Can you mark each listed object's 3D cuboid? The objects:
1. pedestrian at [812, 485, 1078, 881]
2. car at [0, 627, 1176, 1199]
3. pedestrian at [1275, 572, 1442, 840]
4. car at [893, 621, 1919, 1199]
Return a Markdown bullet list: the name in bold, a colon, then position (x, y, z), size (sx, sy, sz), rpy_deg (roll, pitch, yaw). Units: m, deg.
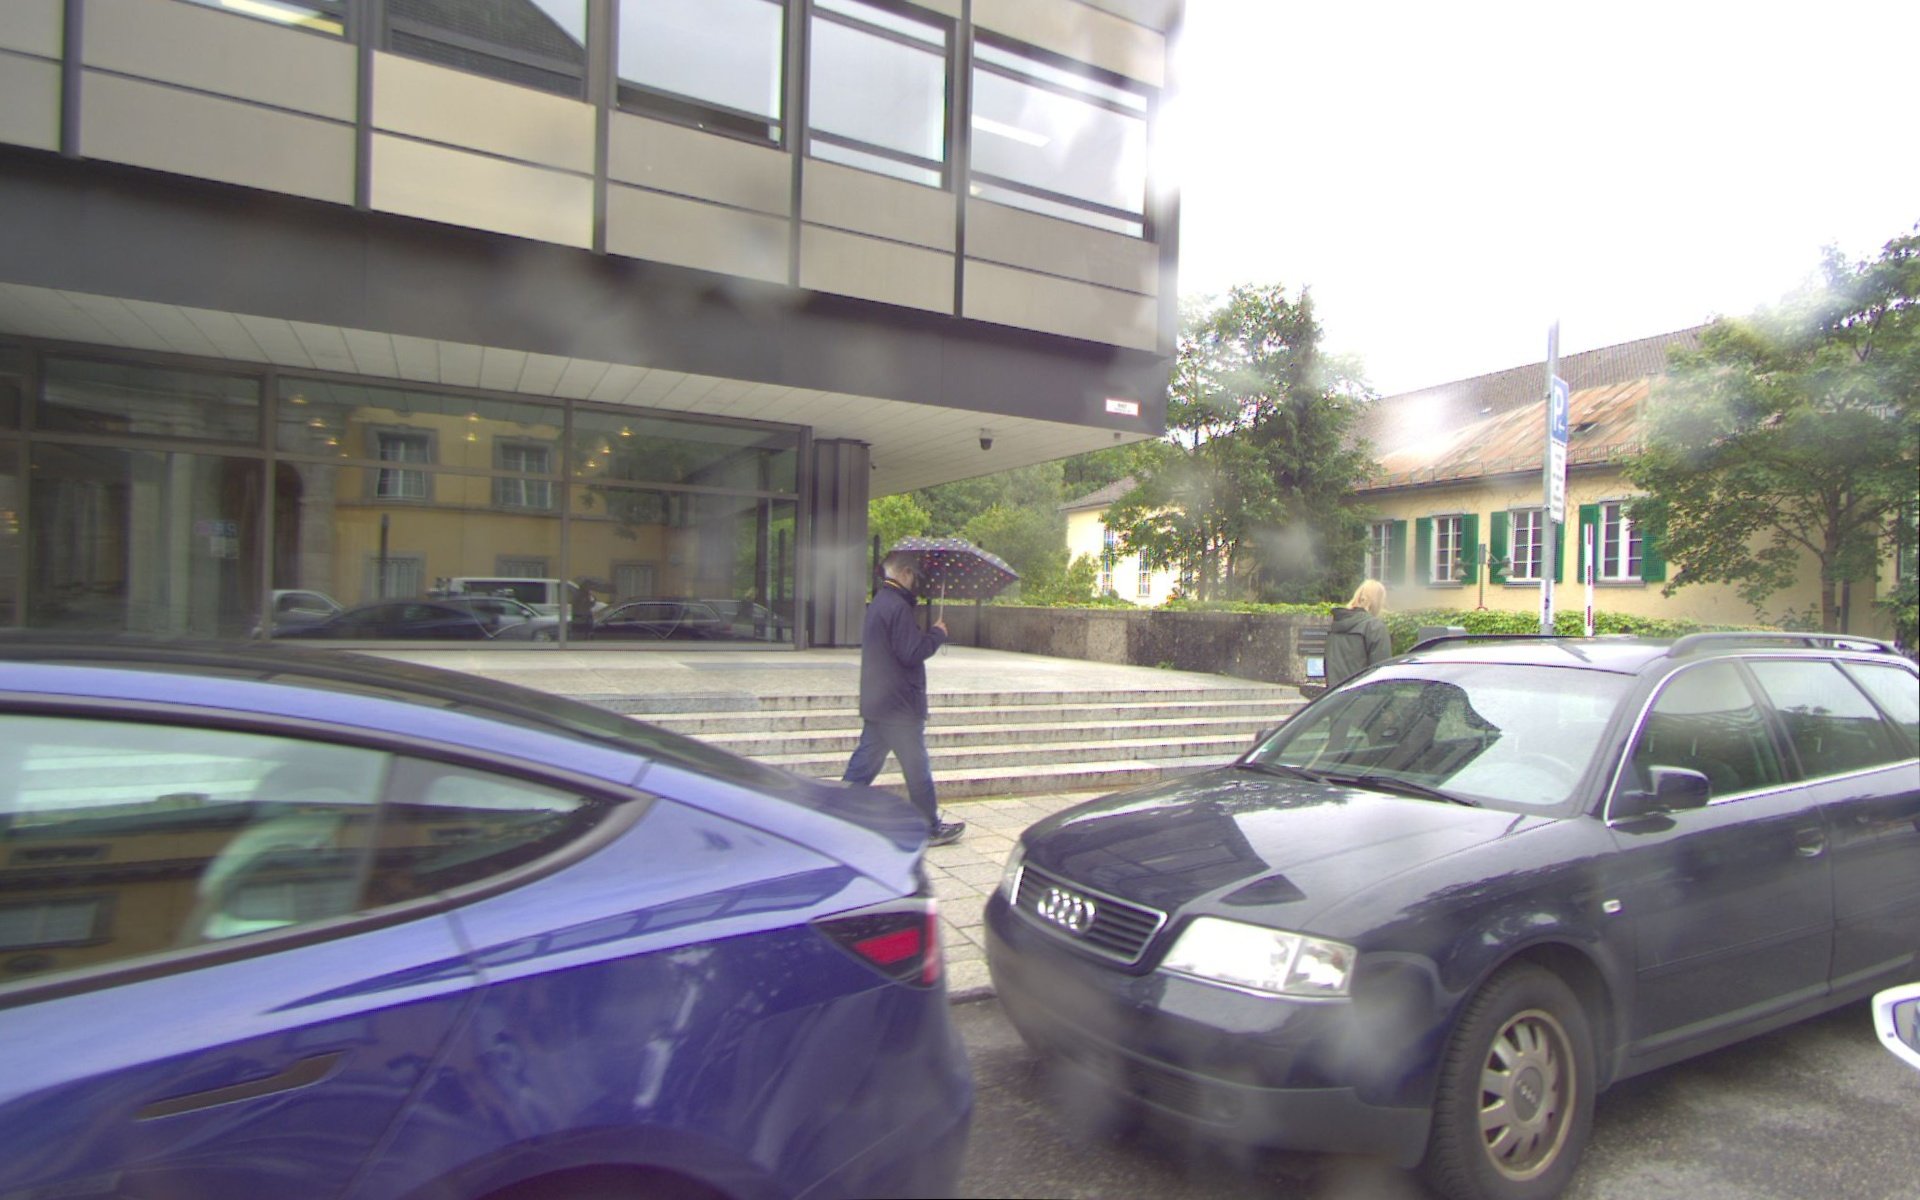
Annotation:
- **pedestrian**: position (-0.116, 0.455, 6.067), size (1.206, 2.082, 1.130), rpy_deg (2, -1, -28)
- **car**: position (-2.182, 0.762, 1.479), size (4.859, 1.458, 1.914), rpy_deg (2, -2, -29)
- **pedestrian**: position (2.875, 0.703, 7.238), size (0.946, 1.772, 0.745), rpy_deg (1, 0, -43)
- **car**: position (2.336, 0.884, 4.055), size (4.820, 1.510, 1.987), rpy_deg (2, -2, -27)
